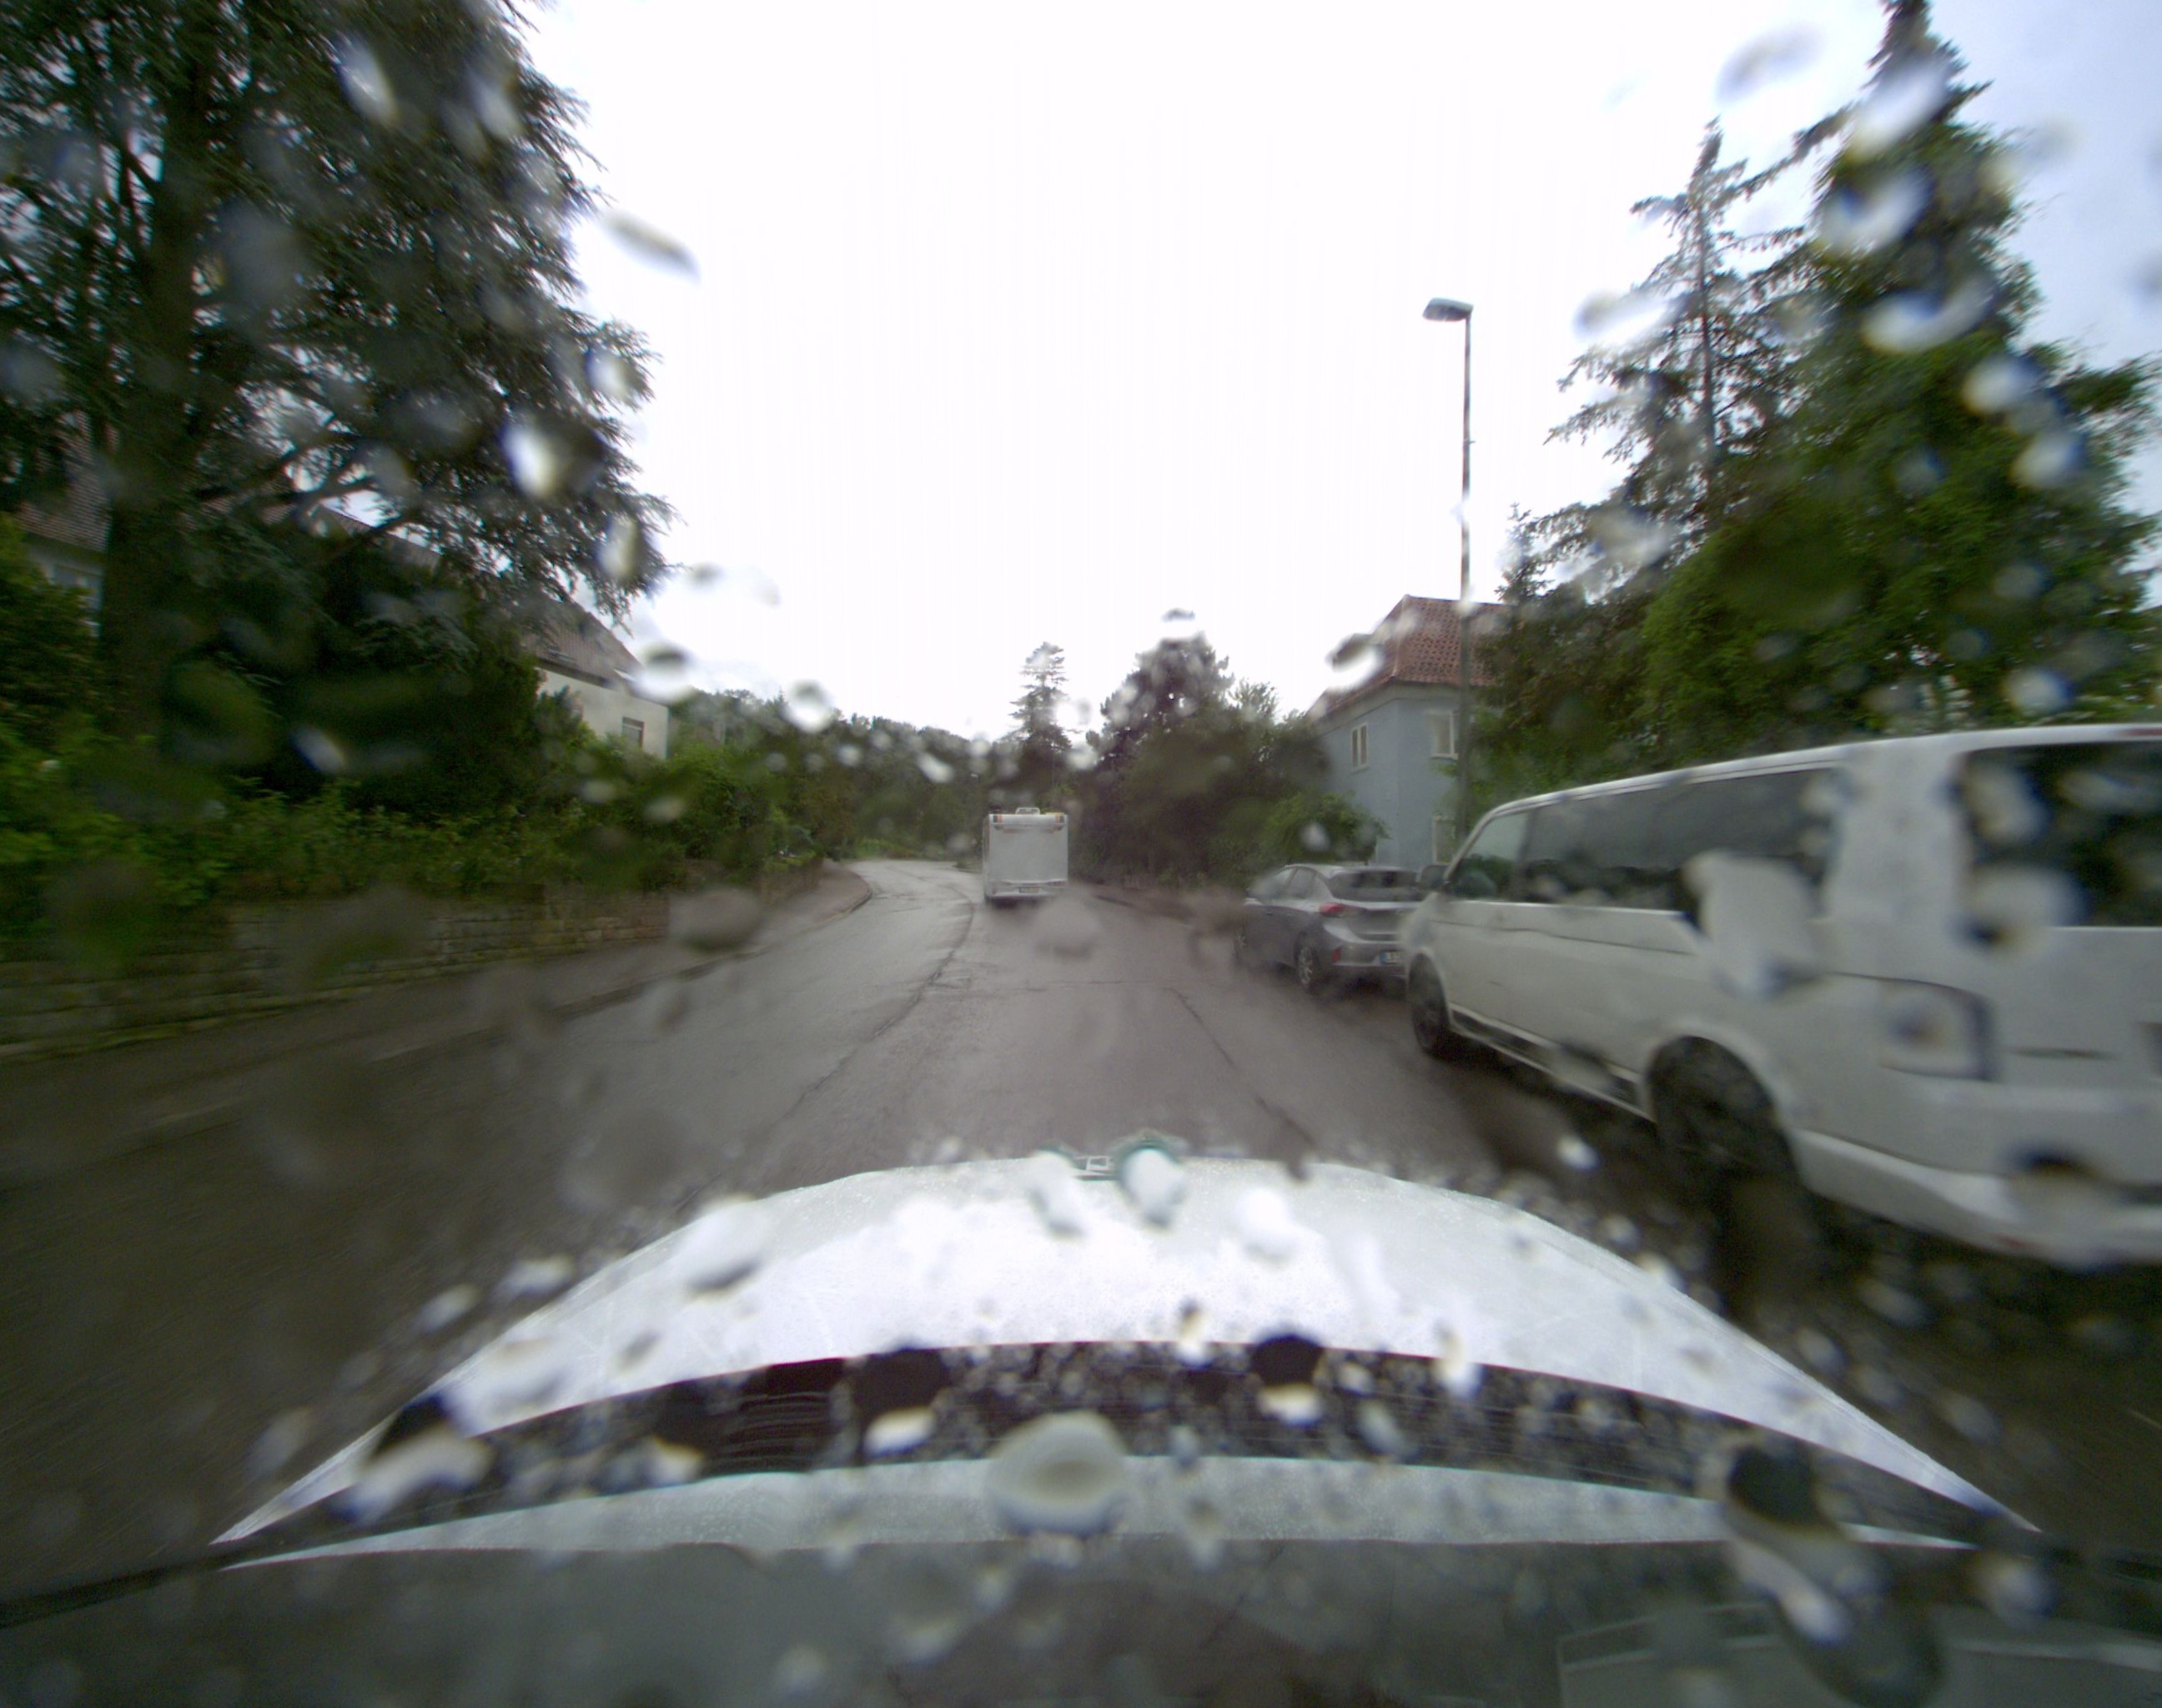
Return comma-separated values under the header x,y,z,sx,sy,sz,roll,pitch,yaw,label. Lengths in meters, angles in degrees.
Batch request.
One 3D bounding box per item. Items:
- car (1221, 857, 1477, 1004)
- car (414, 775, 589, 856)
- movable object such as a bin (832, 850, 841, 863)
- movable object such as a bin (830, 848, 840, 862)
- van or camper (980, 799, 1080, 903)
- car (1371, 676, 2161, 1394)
x,y,z,sx,sy,sz,roll,pitch,yaw,label
3.126,0.796,10.421,1.682,1.457,4.051,0,0,-5,car
-15.158,-0.993,21.323,3.755,1.523,1.739,10,2,19,car
-20.860,0.174,69.466,0.744,1.094,0.752,1,0,-20,movable object such as a bin
-21.231,0.077,70.278,0.744,1.253,0.752,1,0,-20,movable object such as a bin
-1.768,-0.009,25.574,2.614,2.853,6.013,1,-1,-8,van or camper
3.437,0.478,4.715,1.853,1.921,5.081,1,0,2,car
